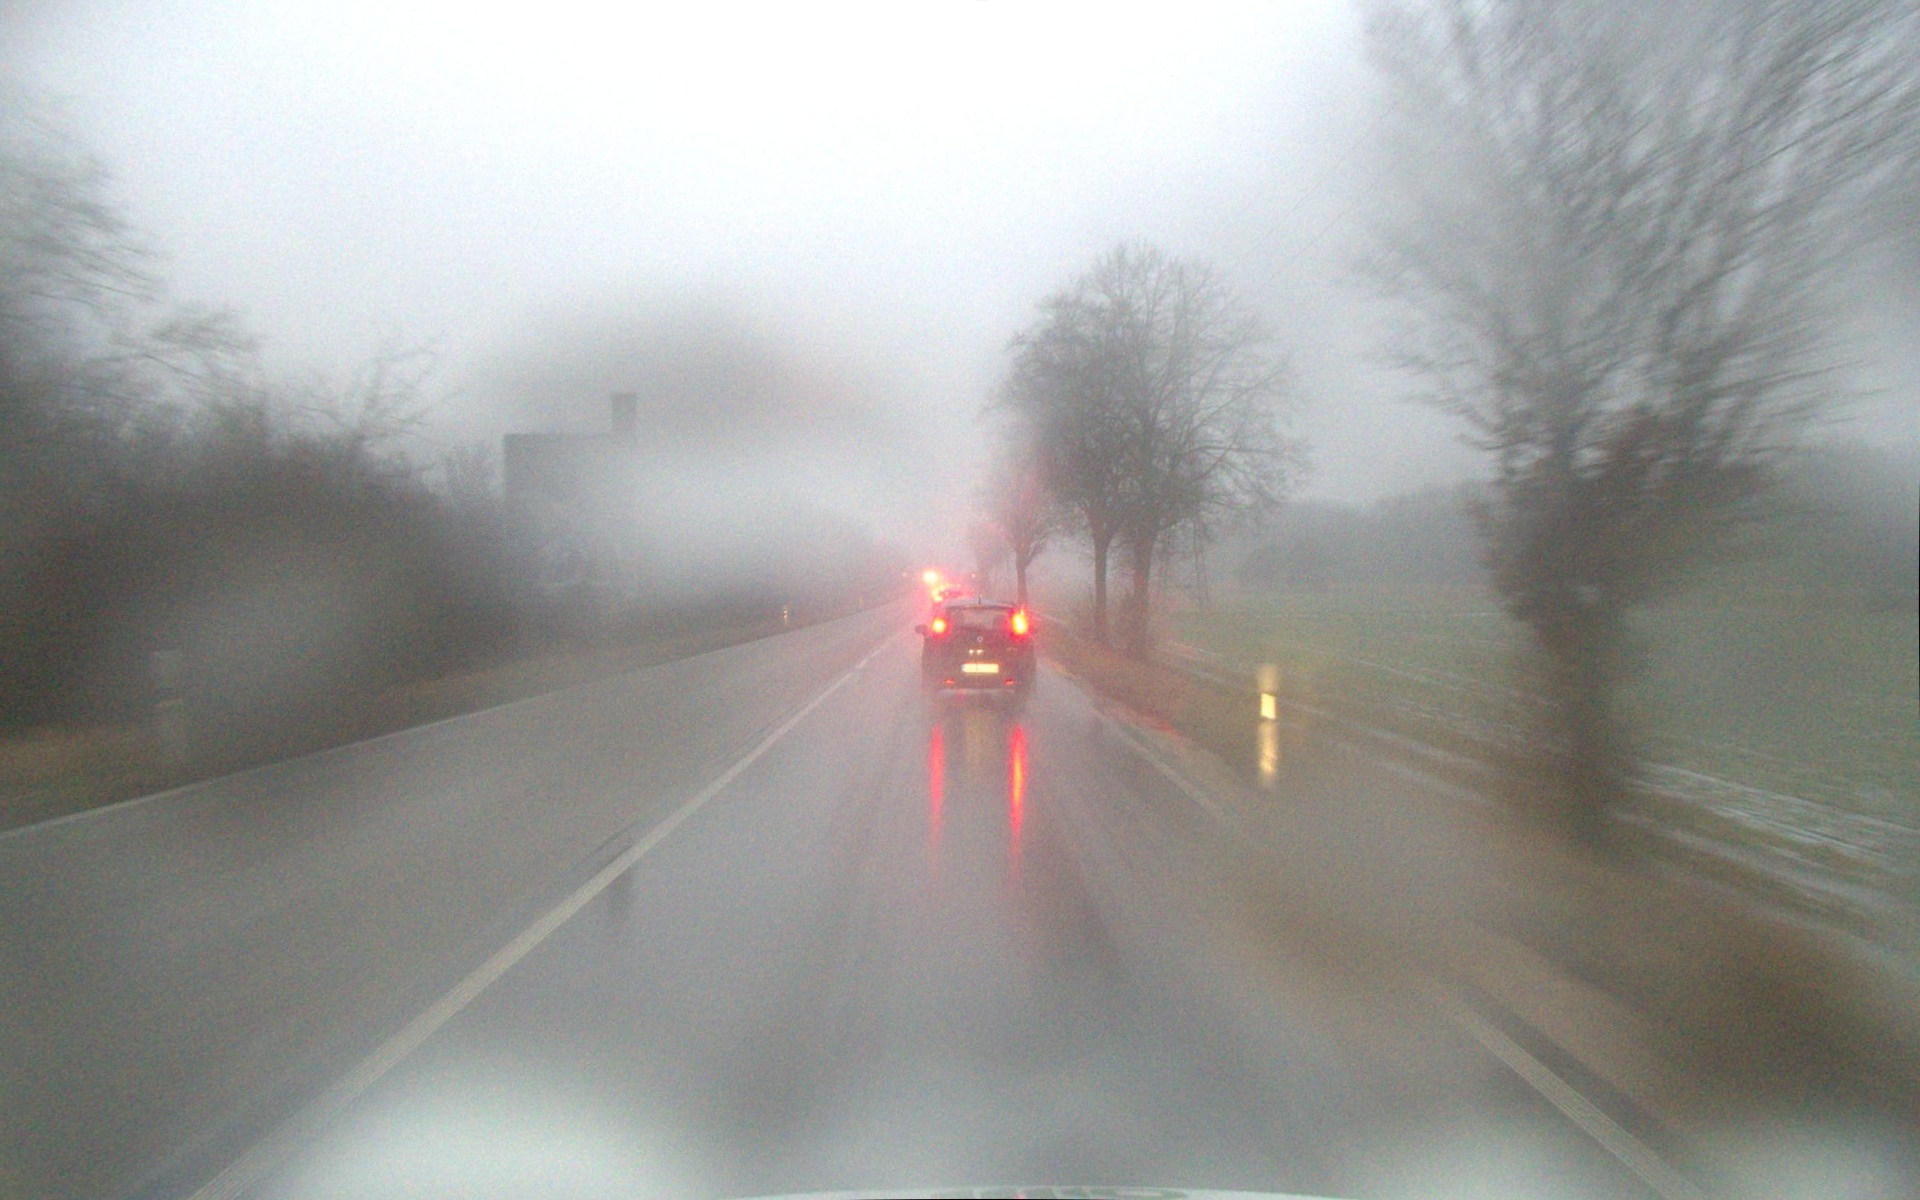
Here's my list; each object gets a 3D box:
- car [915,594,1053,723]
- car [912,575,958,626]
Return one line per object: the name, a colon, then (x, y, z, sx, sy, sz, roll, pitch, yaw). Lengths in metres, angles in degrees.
car: (0.336, 0.825, 25.388, 1.953, 1.782, 4.000, 0, 1, 0)
car: (-1.196, -0.013, 80.746, 1.953, 2.047, 4.003, 4, 5, 1)
